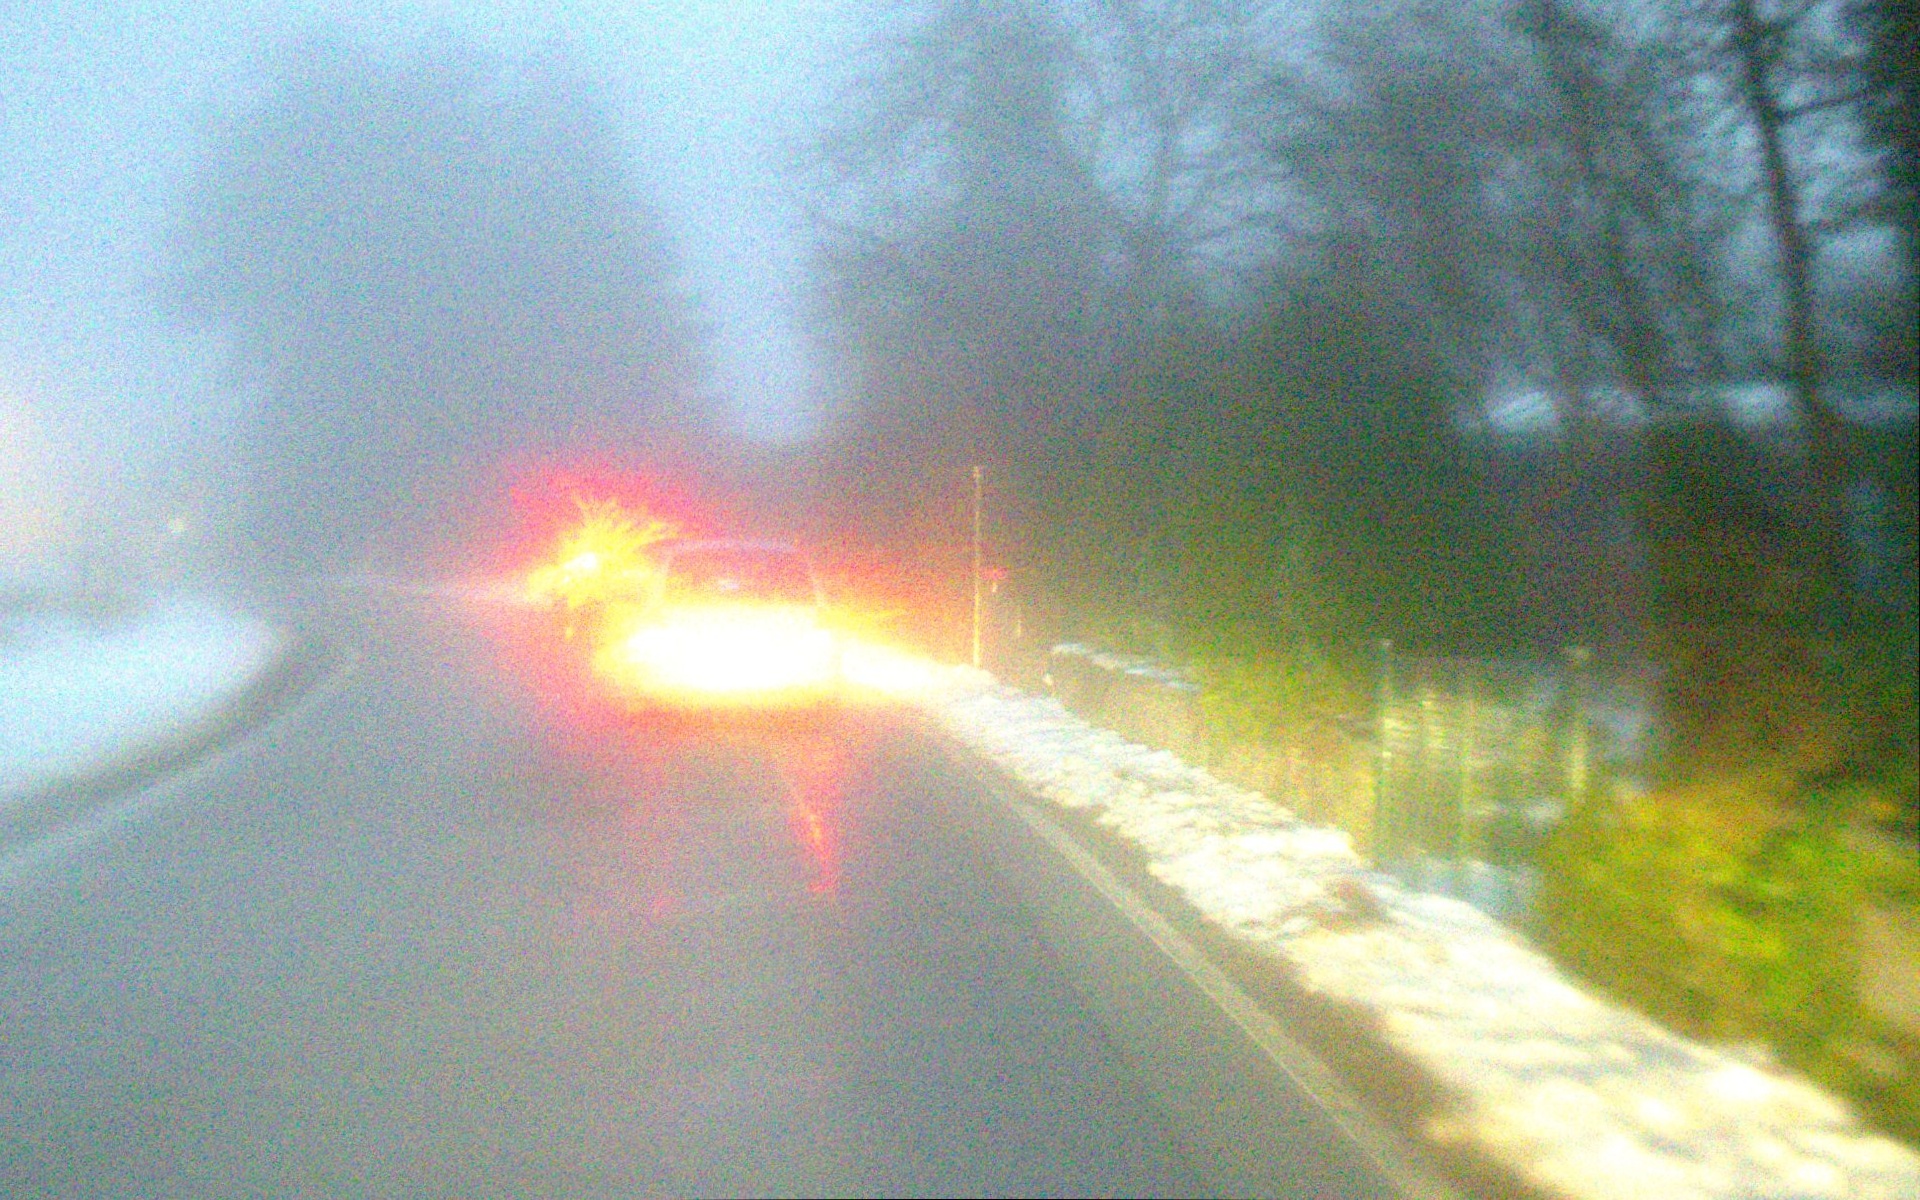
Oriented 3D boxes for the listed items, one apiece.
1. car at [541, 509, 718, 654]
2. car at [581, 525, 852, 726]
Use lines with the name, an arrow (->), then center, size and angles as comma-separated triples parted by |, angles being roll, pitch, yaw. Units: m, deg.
car -> -4.183, -0.242, 44.056 | 1.993, 1.744, 4.000 | 1, 0, -2
car -> -1.902, 0.177, 27.994 | 1.993, 1.503, 4.000 | 1, 0, -1
